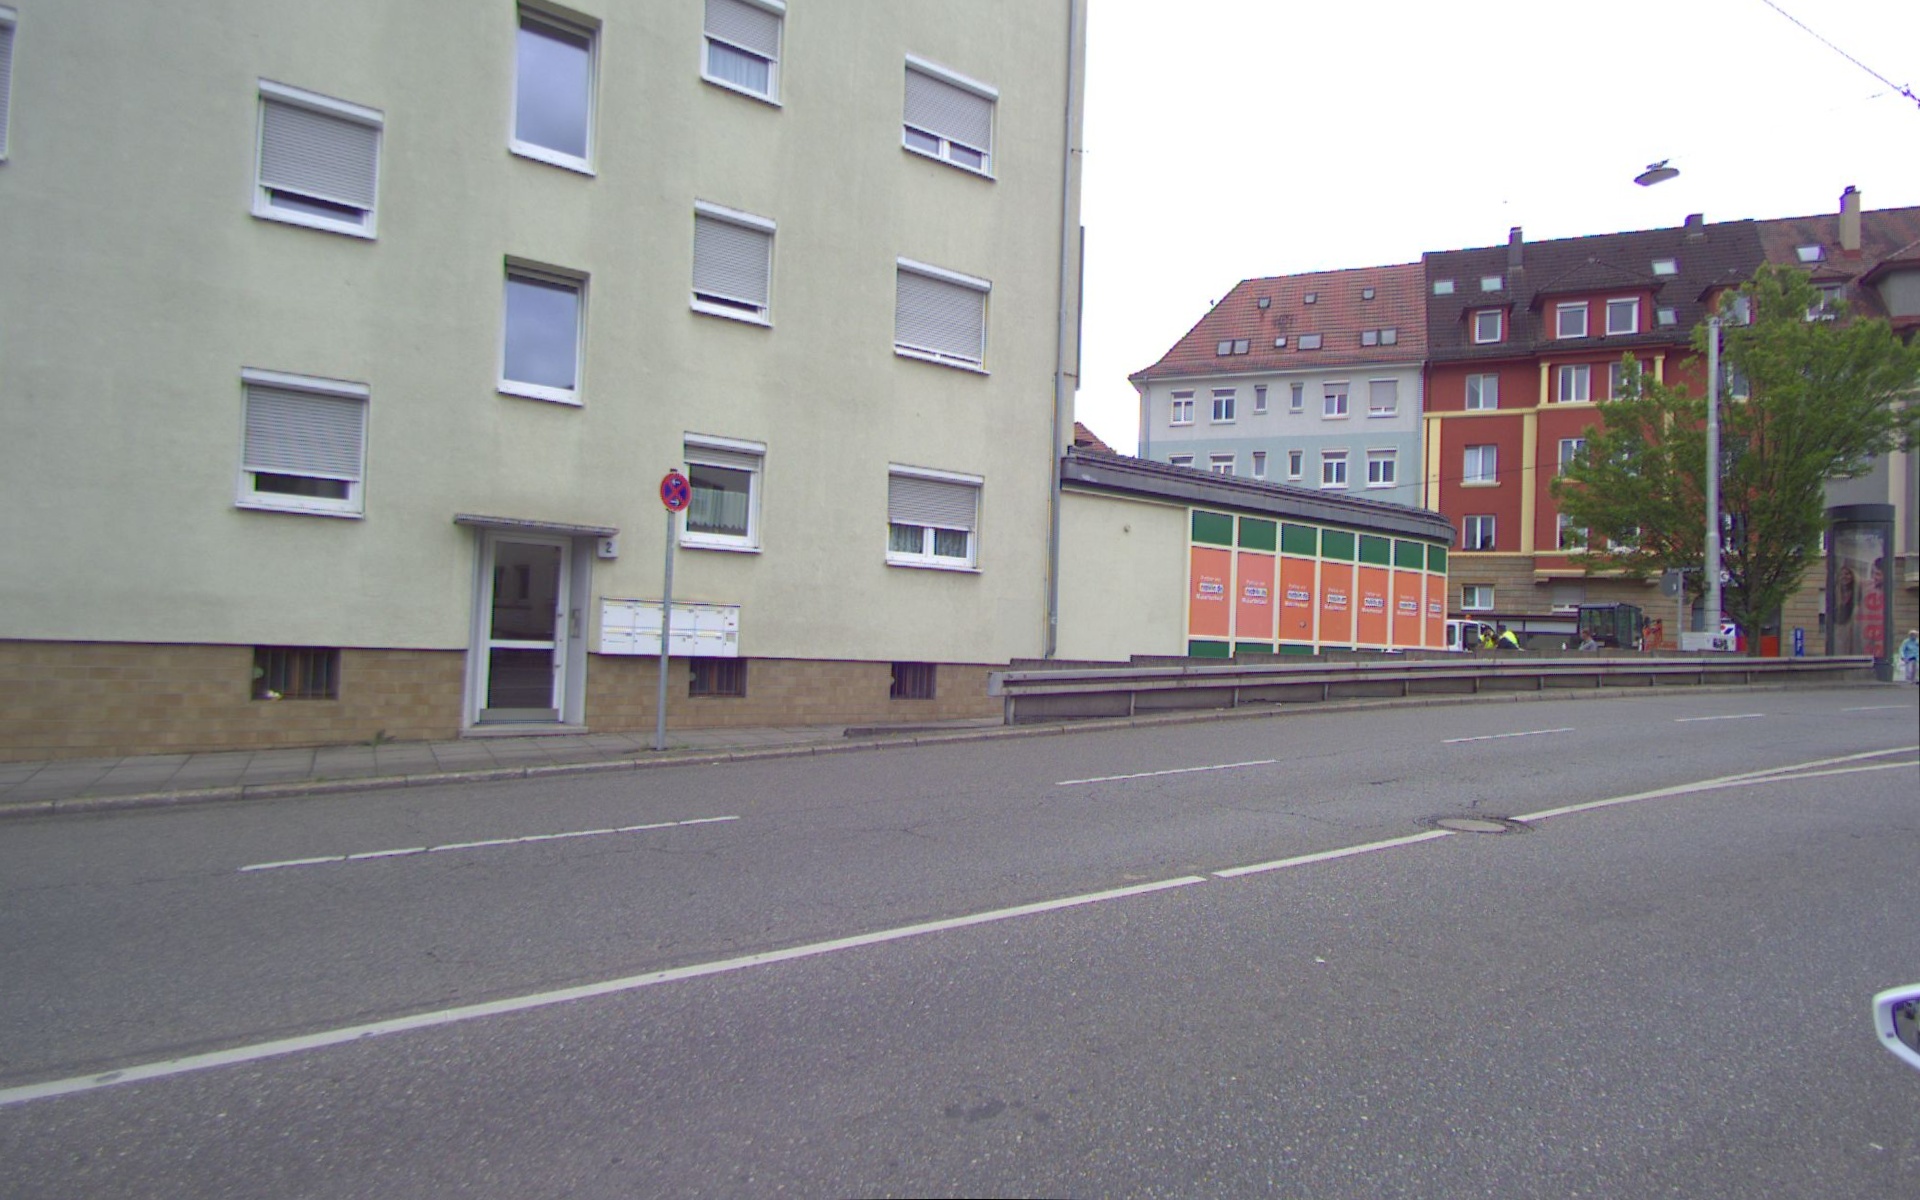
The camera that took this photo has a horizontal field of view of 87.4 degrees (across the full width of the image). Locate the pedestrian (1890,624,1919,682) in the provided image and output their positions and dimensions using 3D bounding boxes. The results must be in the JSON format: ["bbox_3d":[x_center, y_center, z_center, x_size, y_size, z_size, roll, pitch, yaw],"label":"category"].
[{"bbox_3d":[26.682,1.488,28.254,0.480,1.588,0.586,2,1,-30],"label":"pedestrian"}]

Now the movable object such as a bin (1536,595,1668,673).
[{"bbox_3d":[16.461,0.833,25.691,3.972,1.795,1.884,2,1,-43],"label":"movable object such as a bin"}]

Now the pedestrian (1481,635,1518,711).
[{"bbox_3d":[12.666,1.702,23.595,0.539,1.722,0.557,1,1,-41],"label":"pedestrian"}]

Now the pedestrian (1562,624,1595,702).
[{"bbox_3d":[14.369,1.458,23.355,0.533,1.753,0.593,3,1,26],"label":"pedestrian"}]

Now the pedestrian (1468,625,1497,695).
[{"bbox_3d":[13.464,1.544,25.896,0.467,1.753,0.543,2,1,14],"label":"pedestrian"}]

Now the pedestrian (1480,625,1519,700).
[{"bbox_3d":[13.341,1.537,24.851,0.605,1.785,0.573,2,1,5],"label":"pedestrian"}]
